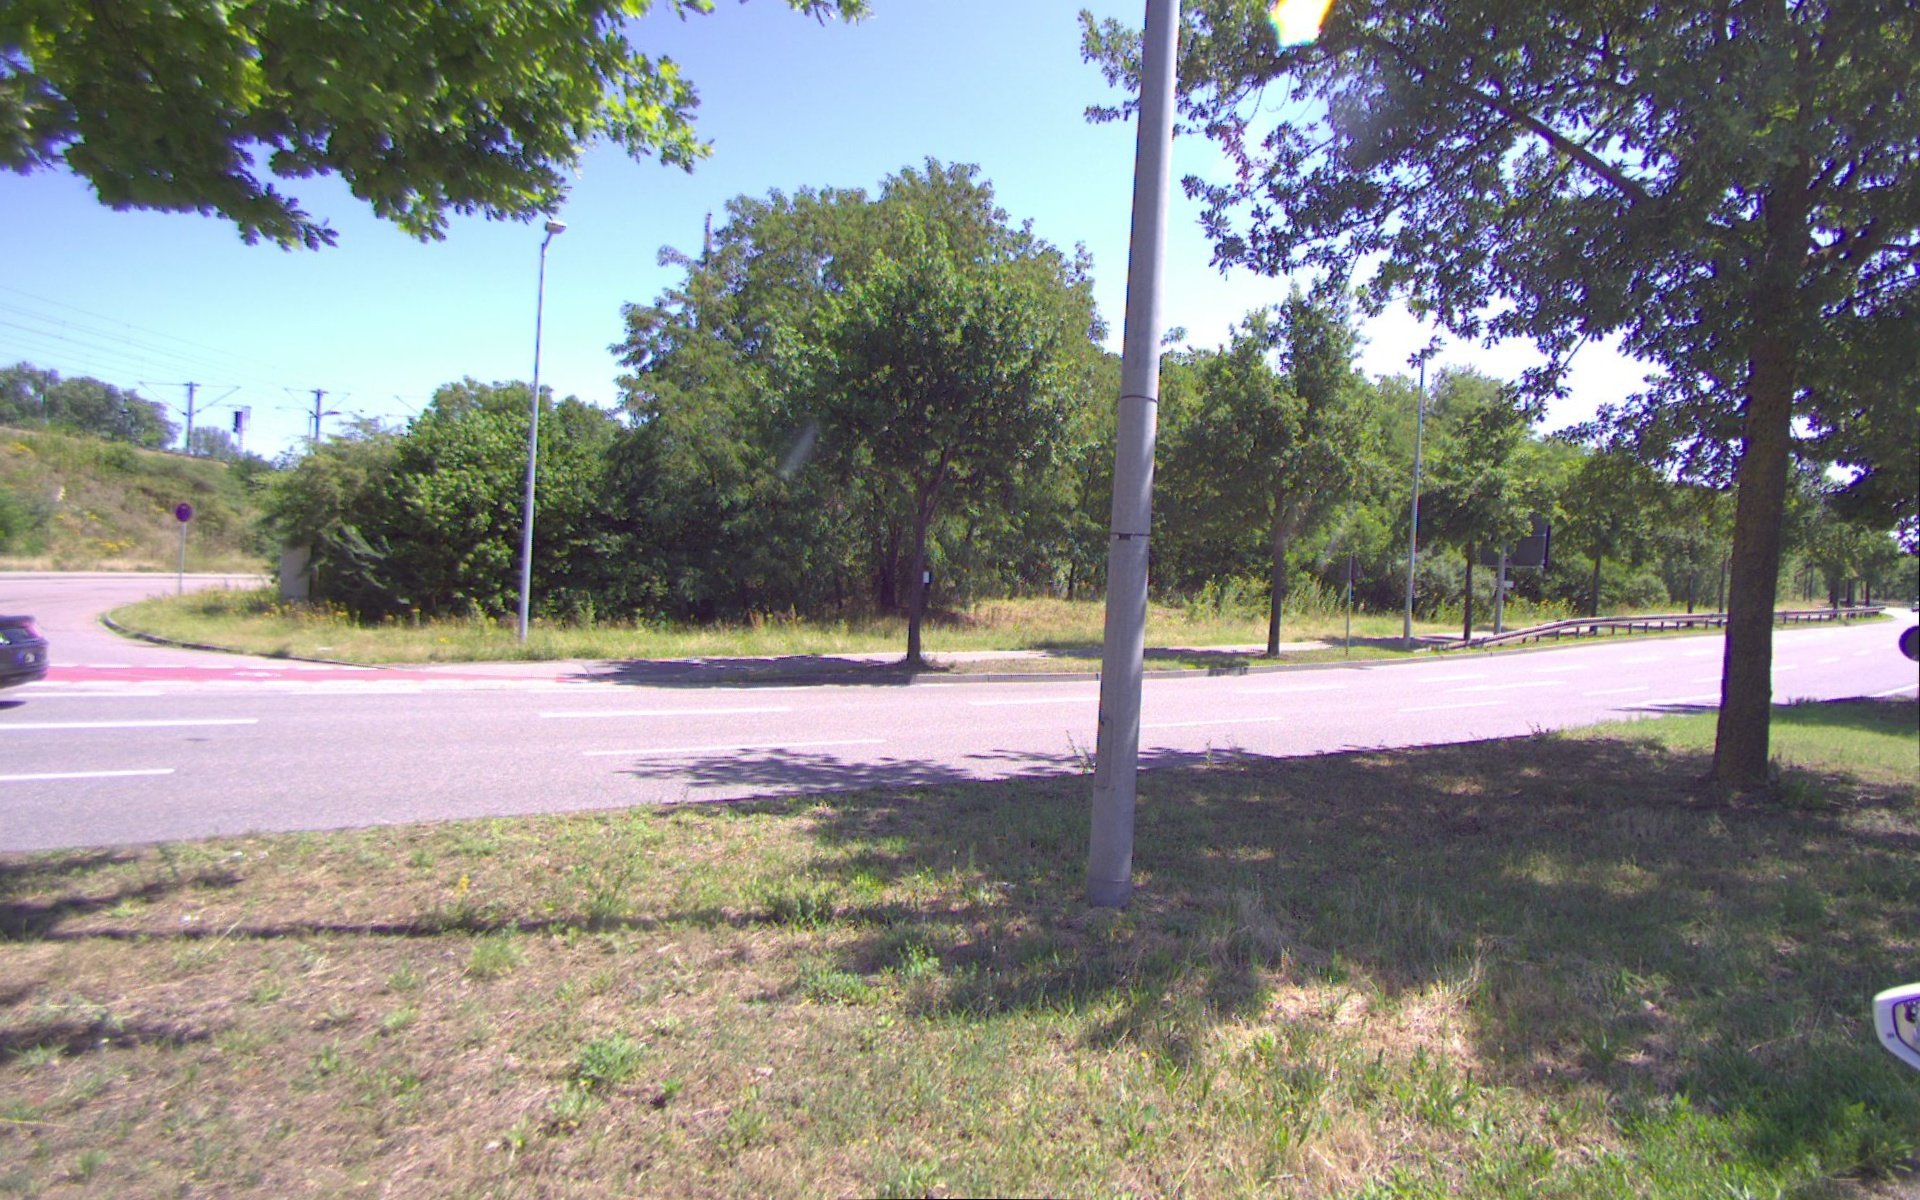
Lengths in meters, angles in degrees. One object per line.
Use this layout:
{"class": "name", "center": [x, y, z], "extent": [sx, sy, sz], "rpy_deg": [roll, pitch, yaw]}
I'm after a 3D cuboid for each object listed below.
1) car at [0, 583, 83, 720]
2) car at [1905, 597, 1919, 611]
{"class": "car", "center": [-12.000, 0.432, 10.022], "extent": [4.509, 1.351, 1.803], "rpy_deg": [3, 0, -26]}
{"class": "car", "center": [96.009, 0.433, 100.868], "extent": [1.442, 1.331, 3.615], "rpy_deg": [3, 0, 45]}
